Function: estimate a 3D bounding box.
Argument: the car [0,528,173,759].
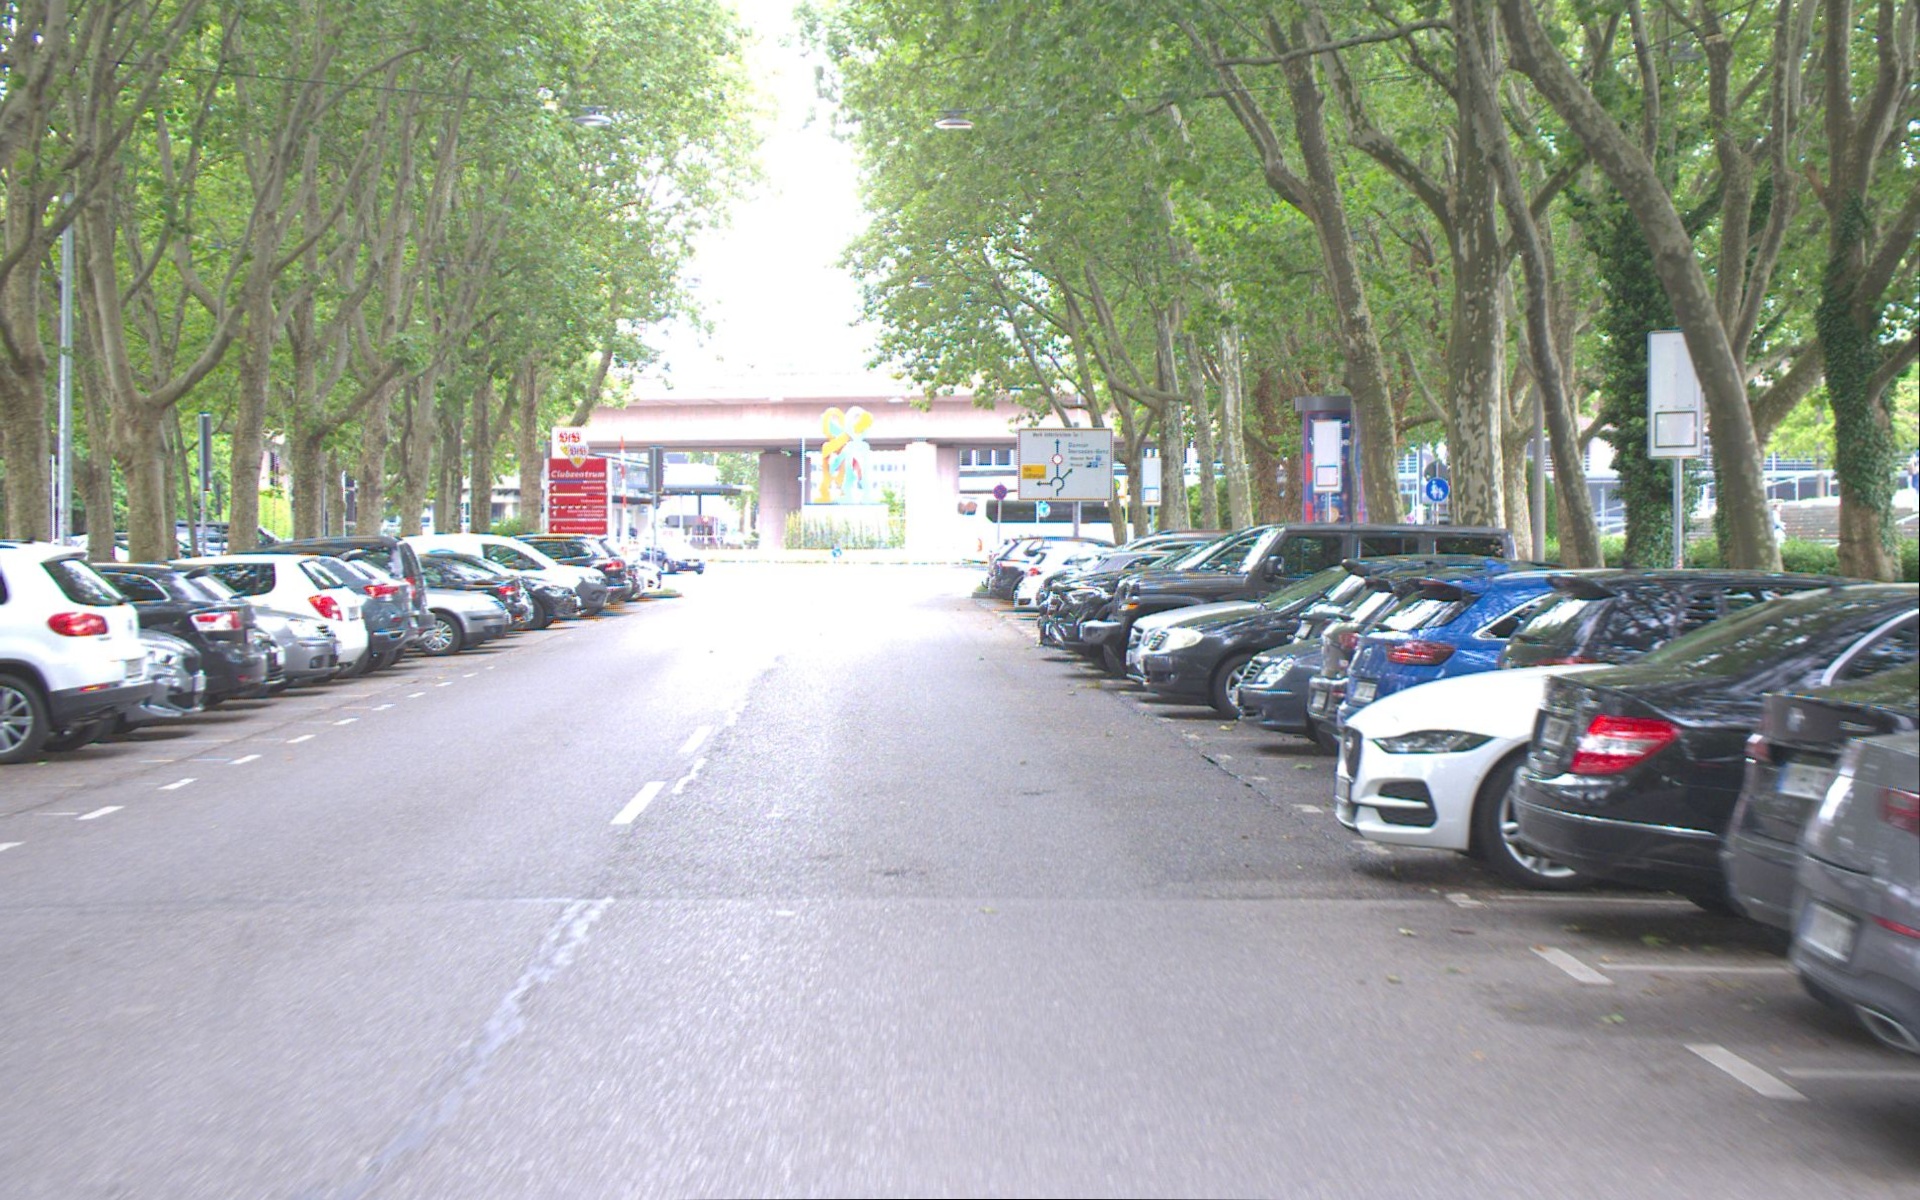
[{"bbox_3d":[-8.195,0.285,26.112,3.987,1.676,1.856,1,0,0],"label":"car"}]

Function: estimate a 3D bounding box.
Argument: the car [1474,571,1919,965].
[{"bbox_3d":[4.114,0.646,13.708,3.830,1.412,1.719,1,1,0],"label":"car"}]

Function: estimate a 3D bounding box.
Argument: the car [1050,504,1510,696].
[{"bbox_3d":[3.321,-0.024,36.282,4.494,1.860,2.048,1,1,-4],"label":"car"}]

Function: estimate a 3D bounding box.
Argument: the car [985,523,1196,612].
[{"bbox_3d":[2.781,-0.696,73.853,4.346,1.755,1.926,2,1,-2],"label":"car"}]

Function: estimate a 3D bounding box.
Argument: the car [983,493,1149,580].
[{"bbox_3d":[2.608,-1.581,85.202,3.987,2.007,2.000,2,1,-1],"label":"car"}]

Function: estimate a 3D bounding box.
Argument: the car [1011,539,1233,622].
[{"bbox_3d":[3.096,-0.384,66.196,4.148,1.453,1.727,2,1,-1],"label":"car"}]

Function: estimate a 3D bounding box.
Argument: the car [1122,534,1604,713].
[{"bbox_3d":[3.878,0.204,33.745,4.495,1.566,2.047,2,1,2],"label":"car"}]

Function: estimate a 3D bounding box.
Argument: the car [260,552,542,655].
[{"bbox_3d":[-8.293,0.042,51.231,3.930,1.393,1.703,-1,1,-2],"label":"car"}]

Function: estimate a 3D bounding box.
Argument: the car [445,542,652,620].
[{"bbox_3d":[-8.795,-0.416,73.708,4.129,1.447,2.013,-2,1,1],"label":"car"}]

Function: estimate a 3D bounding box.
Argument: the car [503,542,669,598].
[{"bbox_3d":[-9.645,-0.774,88.892,3.994,1.380,1.911,1,0,3],"label":"car"}]

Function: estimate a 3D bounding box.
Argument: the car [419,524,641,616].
[{"bbox_3d":[-8.830,-0.620,70.841,4.317,1.789,2.037,1,0,-1],"label":"car"}]

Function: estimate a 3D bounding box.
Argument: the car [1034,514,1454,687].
[{"bbox_3d":[3.154,-0.018,38.925,4.495,1.790,2.048,2,1,-1],"label":"car"}]

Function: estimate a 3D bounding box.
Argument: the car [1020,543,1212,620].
[{"bbox_3d":[3.105,-0.380,68.875,3.639,1.422,1.666,1,1,-4],"label":"car"}]

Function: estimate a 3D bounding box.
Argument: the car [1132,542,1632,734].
[{"bbox_3d":[3.734,0.323,30.956,4.195,1.513,1.785,2,1,-1],"label":"car"}]

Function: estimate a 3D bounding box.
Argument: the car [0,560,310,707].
[{"bbox_3d":[-8.540,0.308,33.787,3.986,1.364,1.844,1,0,-3],"label":"car"}]

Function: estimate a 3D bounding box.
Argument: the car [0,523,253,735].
[{"bbox_3d":[-8.060,0.206,28.539,3.987,1.676,1.856,1,0,0],"label":"car"}]

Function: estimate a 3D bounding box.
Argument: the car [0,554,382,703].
[{"bbox_3d":[-8.181,0.280,35.989,3.993,1.415,1.703,-1,1,-2],"label":"car"}]

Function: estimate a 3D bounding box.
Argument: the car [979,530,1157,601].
[{"bbox_3d":[2.674,-0.870,86.236,4.346,1.628,1.926,2,1,-1],"label":"car"}]

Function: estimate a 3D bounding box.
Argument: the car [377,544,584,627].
[{"bbox_3d":[-9.227,-0.293,66.045,3.781,1.467,1.765,-2,1,-12],"label":"car"}]

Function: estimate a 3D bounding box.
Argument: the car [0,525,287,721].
[{"bbox_3d":[-8.251,0.179,31.000,3.987,1.676,1.856,1,0,0],"label":"car"}]

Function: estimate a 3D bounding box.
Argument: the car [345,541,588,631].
[{"bbox_3d":[-8.715,-0.258,60.913,3.978,1.416,1.755,-2,1,2],"label":"car"}]

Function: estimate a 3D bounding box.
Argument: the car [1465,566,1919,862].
[{"bbox_3d":[4.899,0.607,18.616,4.015,1.442,1.784,2,1,0],"label":"car"}]

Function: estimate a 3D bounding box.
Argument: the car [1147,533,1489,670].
[{"bbox_3d":[5.107,0.007,49.432,4.494,1.790,2.048,1,1,-7],"label":"car"}]

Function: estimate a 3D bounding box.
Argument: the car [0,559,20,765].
[{"bbox_3d":[-8.739,0.414,23.715,3.987,1.448,1.856,1,0,0],"label":"car"}]

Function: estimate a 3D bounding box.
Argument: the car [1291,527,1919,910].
[{"bbox_3d":[3.937,0.520,16.102,4.523,1.617,2.054,1,1,0],"label":"car"}]

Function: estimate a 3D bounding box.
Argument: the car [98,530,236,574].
[{"bbox_3d":[-25.465,-1.533,110.429,3.986,1.319,2.002,1,0,-2],"label":"car"}]

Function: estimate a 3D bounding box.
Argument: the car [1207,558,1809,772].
[{"bbox_3d":[4.113,0.472,26.215,4.195,1.451,1.785,1,1,-4],"label":"car"}]

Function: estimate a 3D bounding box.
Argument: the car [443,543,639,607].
[{"bbox_3d":[-9.245,-0.553,76.125,4.188,1.349,1.967,1,0,-3],"label":"car"}]

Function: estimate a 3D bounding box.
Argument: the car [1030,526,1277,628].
[{"bbox_3d":[3.554,-0.436,63.667,4.346,1.739,1.837,2,1,-3],"label":"car"}]

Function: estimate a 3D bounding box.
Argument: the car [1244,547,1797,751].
[{"bbox_3d":[4.598,0.385,28.586,4.195,1.513,1.785,1,1,-4],"label":"car"}]

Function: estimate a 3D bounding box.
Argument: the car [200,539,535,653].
[{"bbox_3d":[-8.364,-0.070,48.807,4.463,1.477,1.703,-1,1,-2],"label":"car"}]

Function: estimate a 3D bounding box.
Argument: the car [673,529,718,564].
[{"bbox_3d":[-11.739,-2.349,152.895,1.842,1.504,4.015,1,1,-3],"label":"car"}]

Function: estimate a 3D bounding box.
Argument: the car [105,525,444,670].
[{"bbox_3d":[-8.605,-0.053,43.374,3.930,1.702,1.752,-1,1,-2],"label":"car"}]

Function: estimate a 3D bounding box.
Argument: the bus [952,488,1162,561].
[{"bbox_3d":[4.608,-3.527,161.622,9.984,3.387,2.341,0,1,-27],"label":"bus"}]

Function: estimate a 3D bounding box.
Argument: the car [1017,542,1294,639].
[{"bbox_3d":[3.155,-0.170,56.144,4.346,1.408,1.926,2,1,-1],"label":"car"}]

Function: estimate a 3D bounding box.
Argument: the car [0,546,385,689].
[{"bbox_3d":[-8.700,0.186,38.922,3.993,1.480,1.703,-1,1,4],"label":"car"}]

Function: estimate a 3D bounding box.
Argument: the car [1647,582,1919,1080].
[{"bbox_3d":[4.503,0.707,11.206,4.016,1.412,1.912,1,1,-6],"label":"car"}]

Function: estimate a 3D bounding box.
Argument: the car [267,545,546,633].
[{"bbox_3d":[-9.401,-0.200,58.644,4.463,1.365,1.880,-1,1,-1],"label":"car"}]

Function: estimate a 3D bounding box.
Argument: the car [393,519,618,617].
[{"bbox_3d":[-9.056,-0.654,68.742,4.317,1.804,1.868,-2,1,-5],"label":"car"}]

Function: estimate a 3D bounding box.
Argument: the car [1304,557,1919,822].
[{"bbox_3d":[4.305,0.528,21.096,4.015,1.442,1.915,1,1,-7],"label":"car"}]

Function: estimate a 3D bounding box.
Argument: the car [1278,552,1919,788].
[{"bbox_3d":[4.450,0.464,23.840,4.195,1.451,1.785,1,1,-4],"label":"car"}]

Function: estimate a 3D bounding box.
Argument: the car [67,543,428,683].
[{"bbox_3d":[-8.418,0.136,40.869,3.930,1.511,1.728,-1,1,-2],"label":"car"}]

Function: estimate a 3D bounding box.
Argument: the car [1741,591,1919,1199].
[{"bbox_3d":[4.441,0.754,8.574,4.588,1.412,1.718,1,1,2],"label":"car"}]
